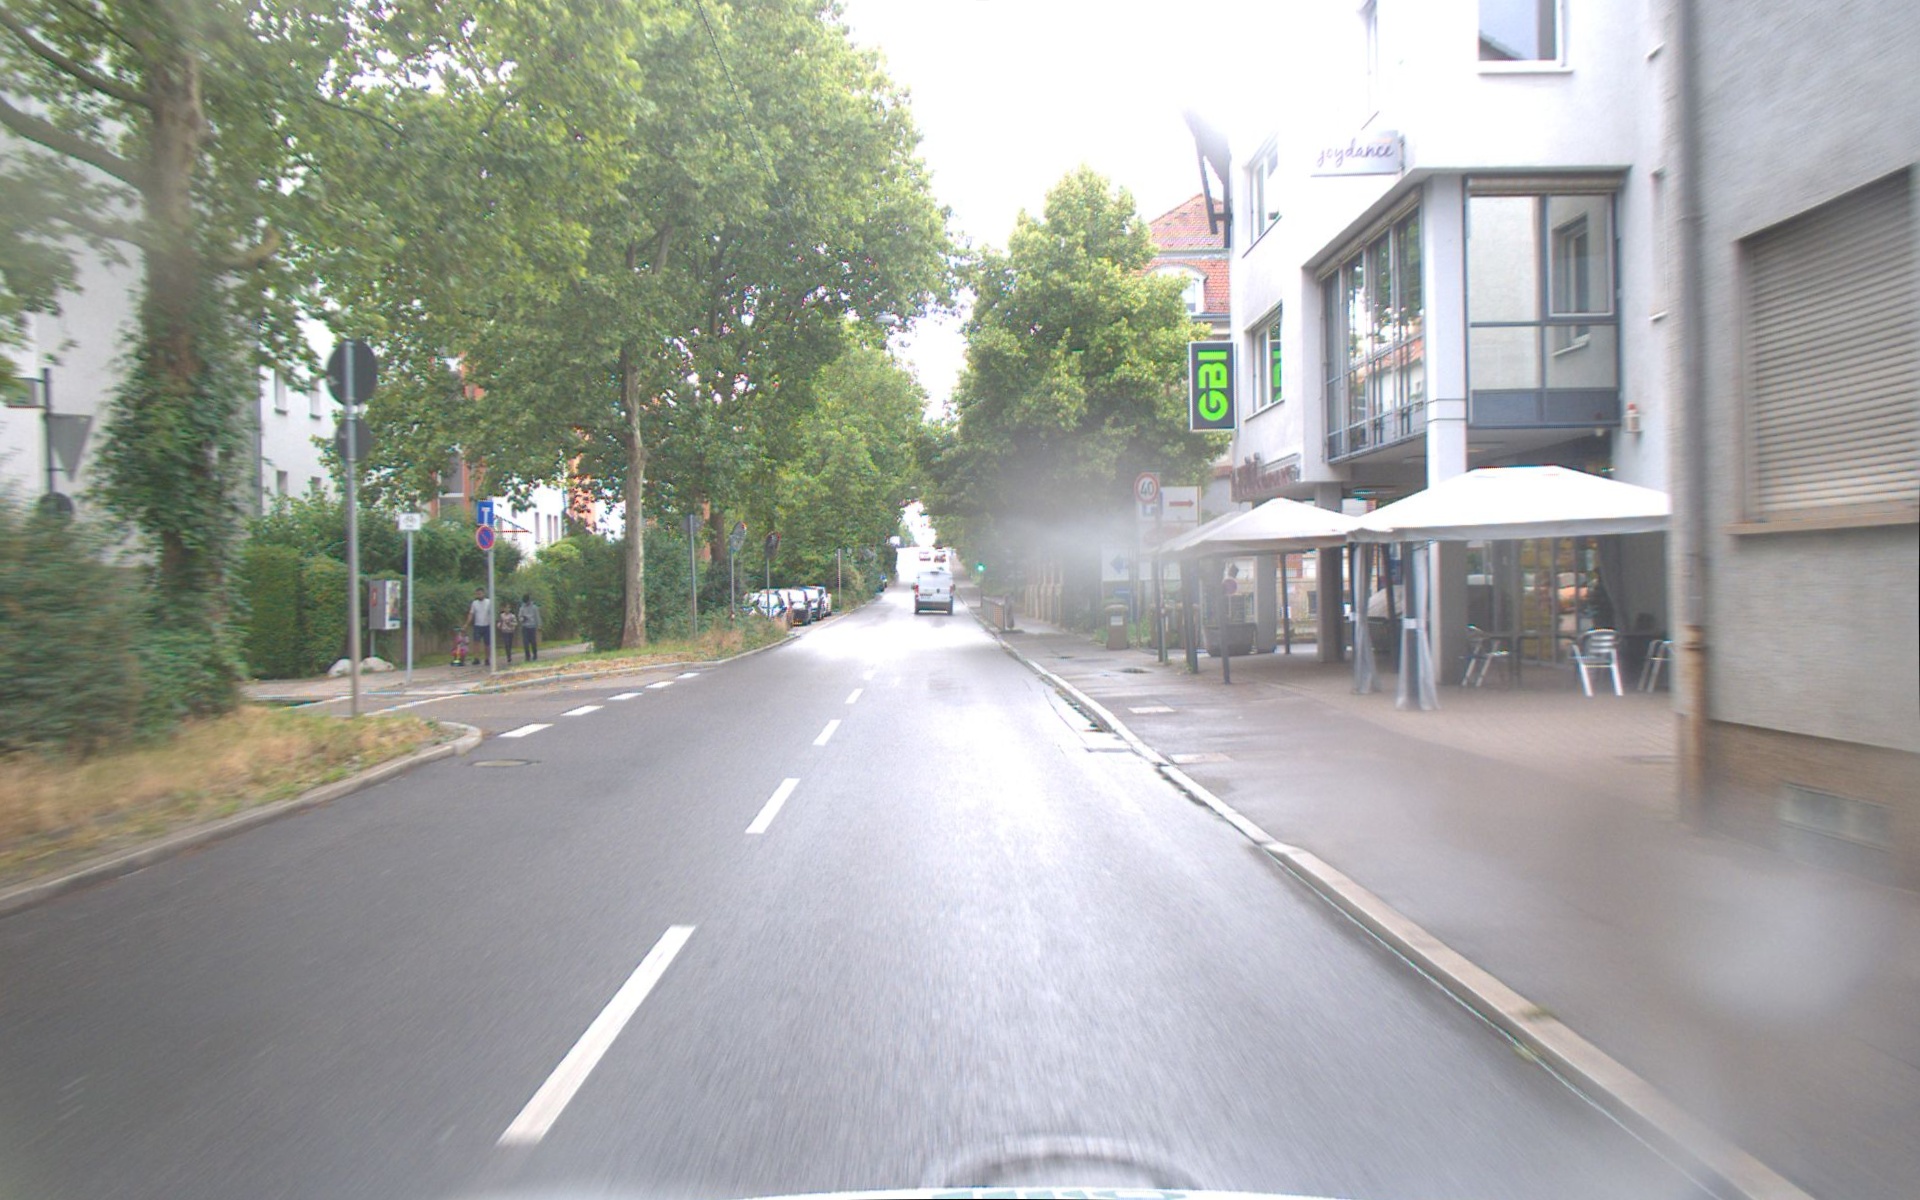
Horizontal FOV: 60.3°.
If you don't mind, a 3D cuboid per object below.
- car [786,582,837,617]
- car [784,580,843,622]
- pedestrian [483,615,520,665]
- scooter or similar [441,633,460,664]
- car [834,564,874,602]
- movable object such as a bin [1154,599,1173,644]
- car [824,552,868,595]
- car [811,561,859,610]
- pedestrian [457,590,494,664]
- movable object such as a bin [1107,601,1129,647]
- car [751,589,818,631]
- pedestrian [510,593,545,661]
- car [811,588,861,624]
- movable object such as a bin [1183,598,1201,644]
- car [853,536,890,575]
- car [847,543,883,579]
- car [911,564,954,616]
[{"bbox_3d":[-7.311,-0.004,81.883,1.954,1.570,4.609,1,-2,1],"label":"car"},{"bbox_3d":[-6.605,0.068,75.064,2.170,1.759,4.609,1,-2,1],"label":"car"},{"bbox_3d":[-10.554,0.916,38.101,0.667,1.127,0.622,1,-2,-4],"label":"pedestrian"},{"bbox_3d":[-11.339,1.077,36.805,0.301,0.693,0.388,1,-2,-4],"label":"scooter or similar"},{"bbox_3d":[-6.856,-1.072,107.862,2.170,2.334,4.609,1,-1,1],"label":"car"},{"bbox_3d":[4.908,0.524,39.876,0.392,1.085,0.358,0,-2,-7],"label":"movable object such as a bin"},{"bbox_3d":[-6.736,-1.544,98.097,2.170,2.334,4.609,1,-2,1],"label":"car"},{"bbox_3d":[-6.993,-0.774,93.040,2.170,2.578,4.609,1,-2,1],"label":"car"},{"bbox_3d":[-10.829,0.610,36.959,0.626,1.640,0.622,1,-2,-4],"label":"pedestrian"},{"bbox_3d":[3.802,0.584,39.878,0.392,1.085,0.358,-4,-1,-7],"label":"movable object such as a bin"},{"bbox_3d":[-7.242,0.449,68.761,2.170,1.620,4.609,1,-2,1],"label":"car"},{"bbox_3d":[-10.379,0.647,39.710,0.667,1.598,0.622,1,-1,-4],"label":"pedestrian"},{"bbox_3d":[-6.511,0.347,87.245,2.170,1.721,4.609,1,-2,1],"label":"car"},{"bbox_3d":[5.591,0.508,39.904,0.349,1.085,0.358,1,-2,-7],"label":"movable object such as a bin"},{"bbox_3d":[-6.083,-3.069,114.495,2.170,2.334,4.609,1,-3,1],"label":"car"},{"bbox_3d":[-6.965,-2.838,121.806,2.169,2.334,4.610,1,-2,2],"label":"car"},{"bbox_3d":[-1.438,-0.499,87.427,2.236,2.597,3.999,0,-2,-1],"label":"car"}]
